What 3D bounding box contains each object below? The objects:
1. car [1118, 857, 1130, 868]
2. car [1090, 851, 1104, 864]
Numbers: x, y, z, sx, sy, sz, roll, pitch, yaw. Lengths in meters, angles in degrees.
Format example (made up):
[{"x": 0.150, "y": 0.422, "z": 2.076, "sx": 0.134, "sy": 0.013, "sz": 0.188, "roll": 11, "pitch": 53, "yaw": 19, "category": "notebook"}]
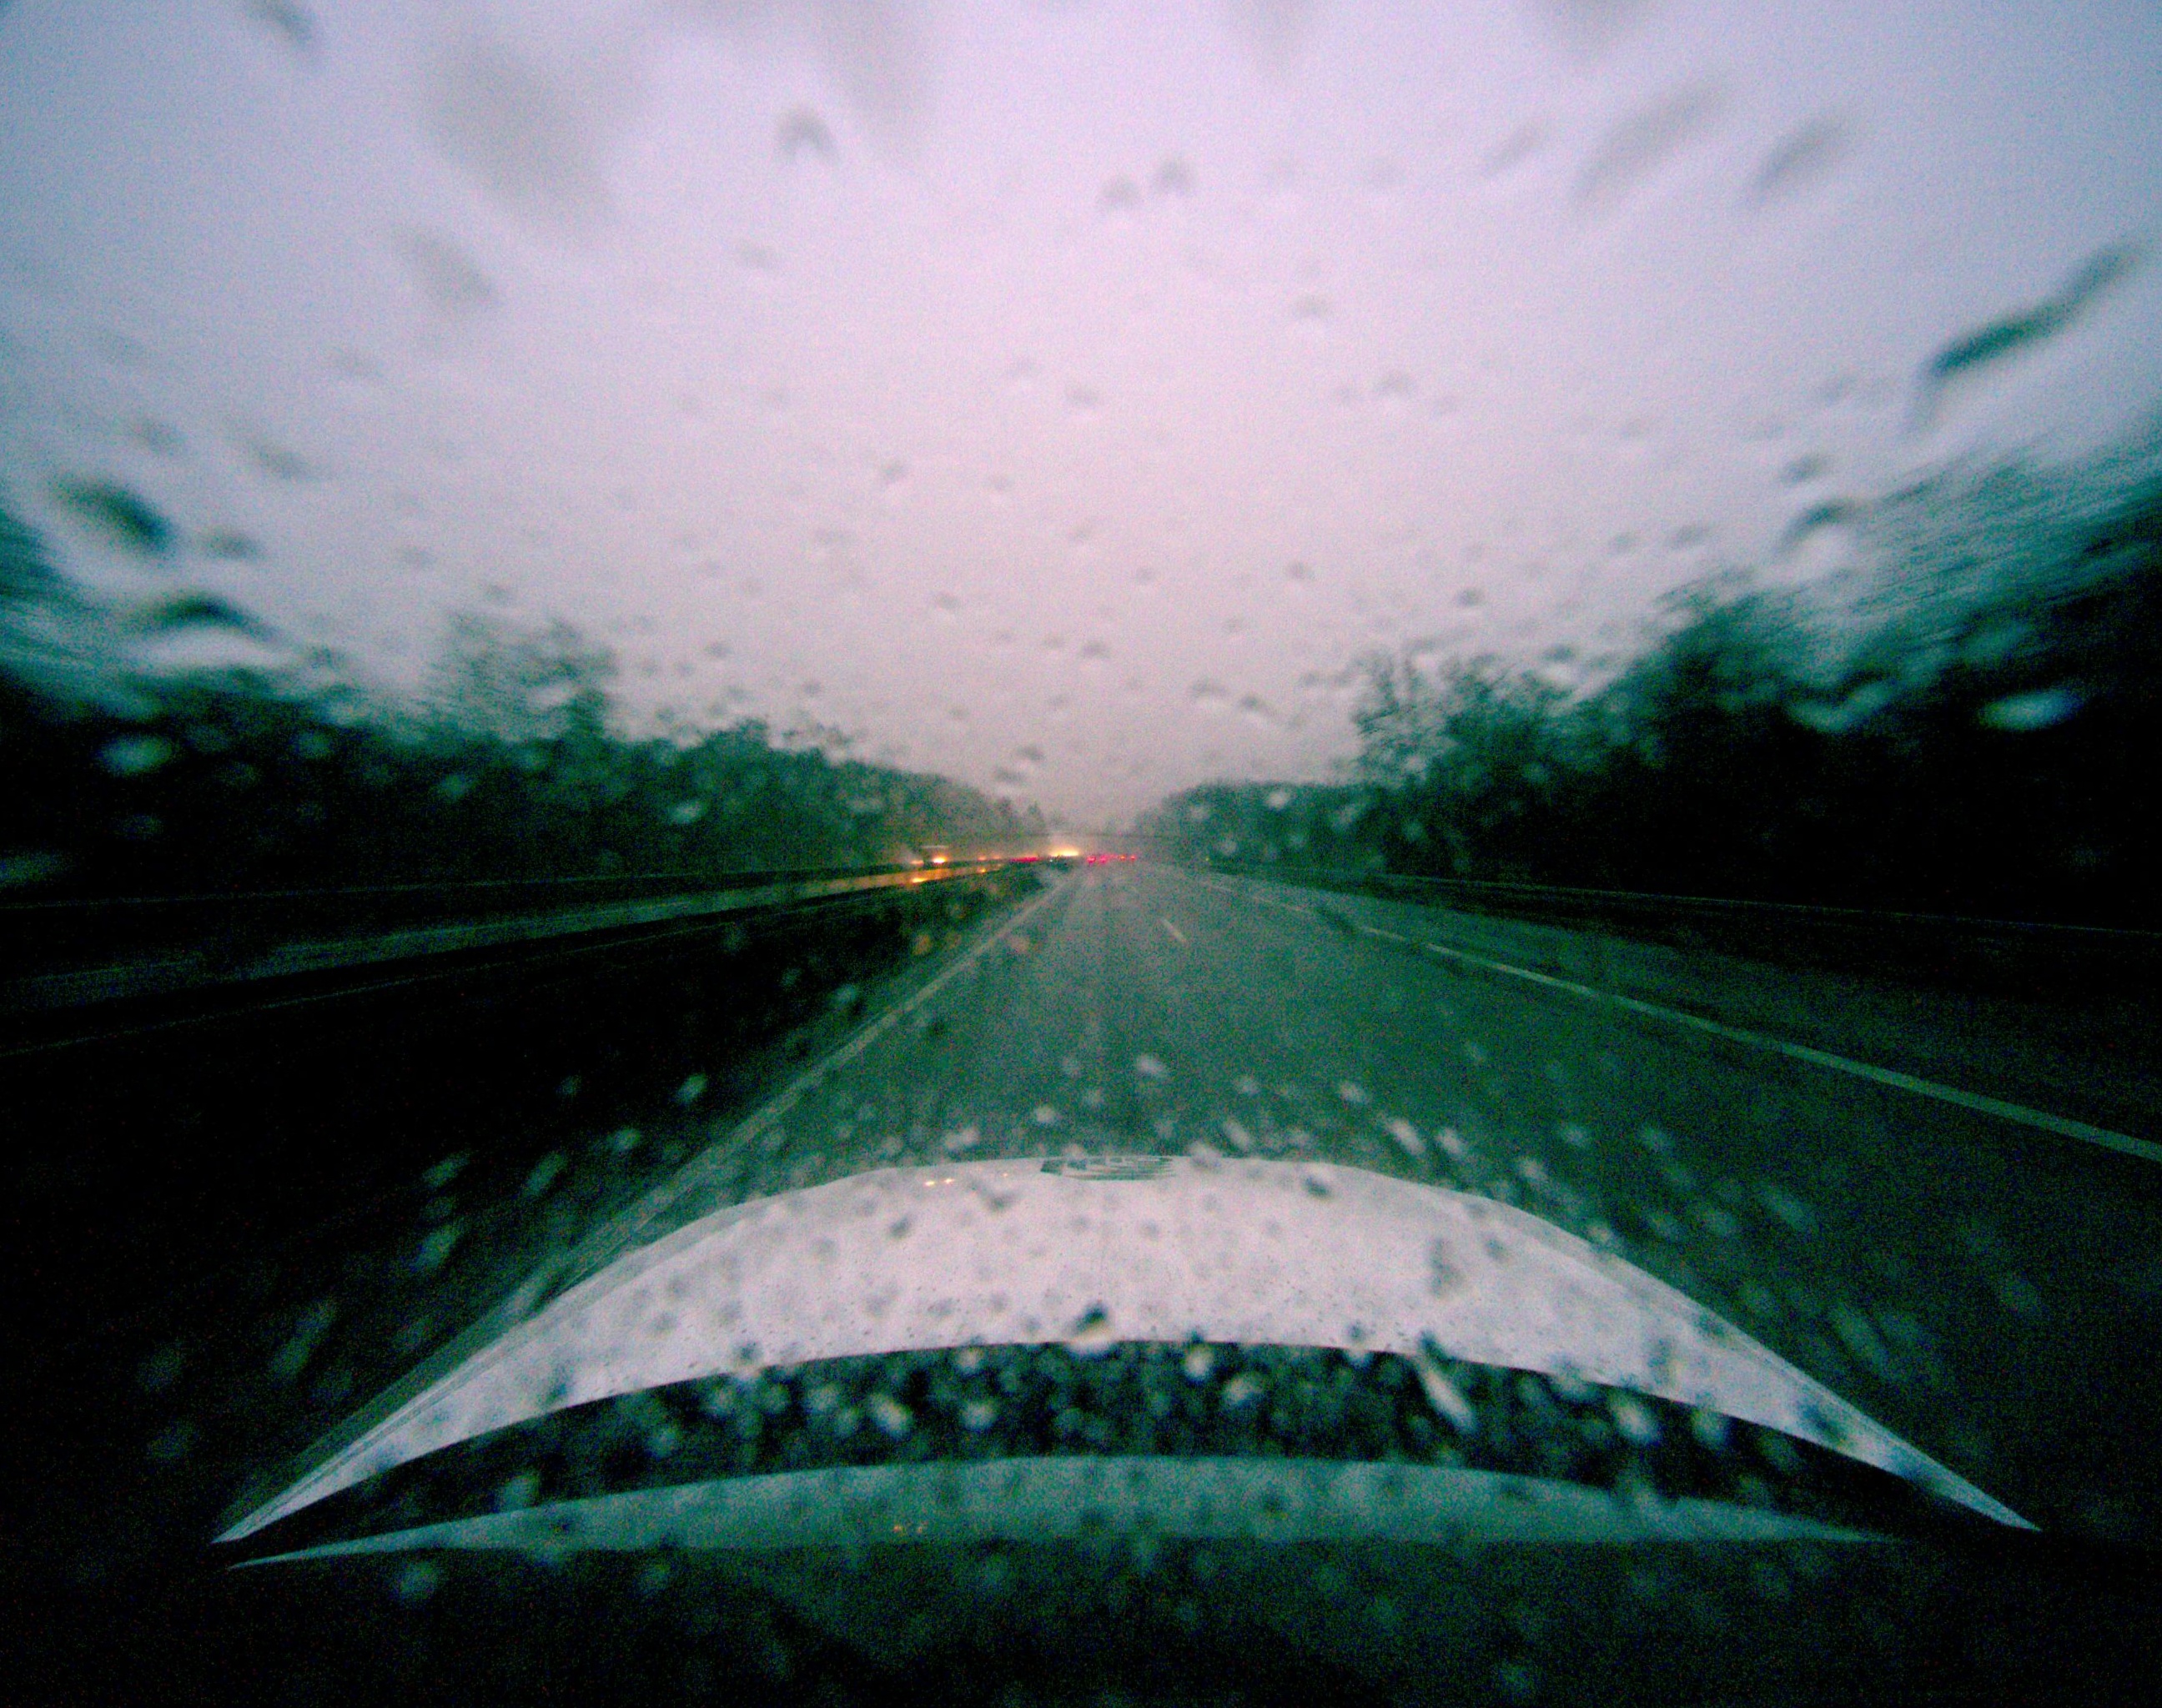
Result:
[{"x": 5.562, "y": 1.046, "z": 105.553, "sx": 1.448, "sy": 1.429, "sz": 3.491, "roll": 0, "pitch": 0, "yaw": 1, "category": "car"}, {"x": 1.657, "y": 0.356, "z": 82.878, "sx": 1.448, "sy": 1.344, "sz": 3.491, "roll": 0, "pitch": 0, "yaw": 1, "category": "car"}]
